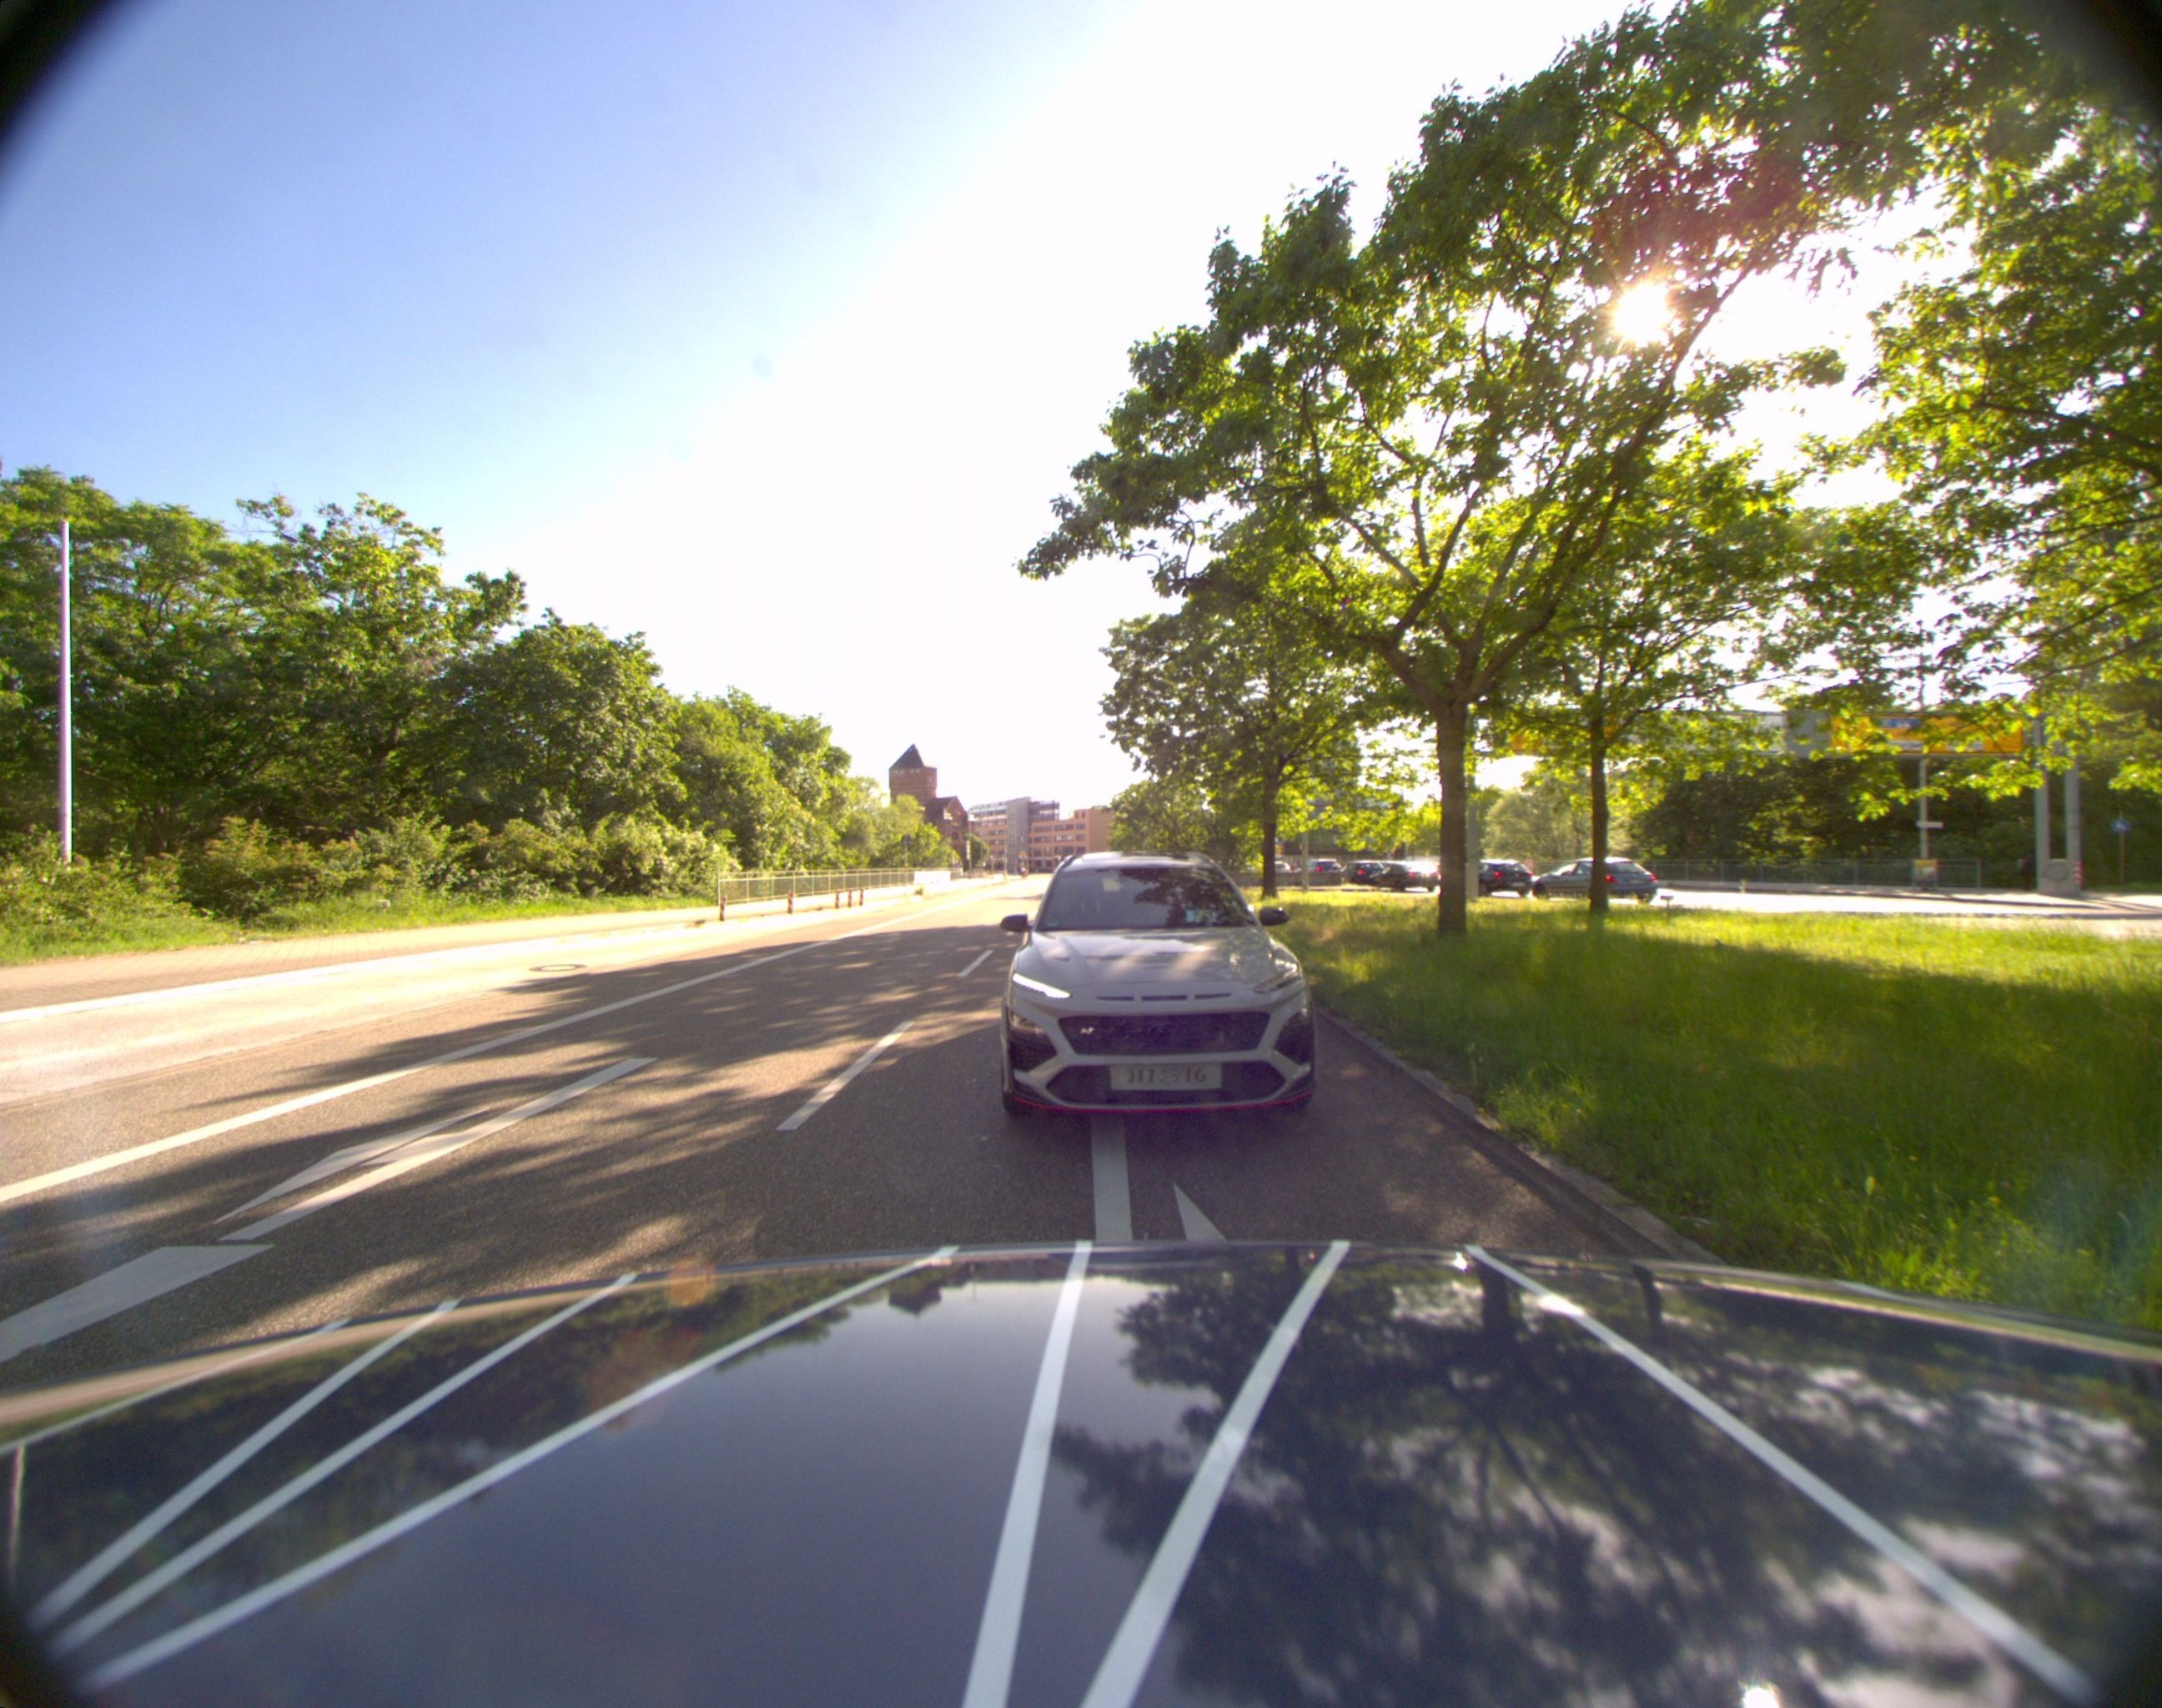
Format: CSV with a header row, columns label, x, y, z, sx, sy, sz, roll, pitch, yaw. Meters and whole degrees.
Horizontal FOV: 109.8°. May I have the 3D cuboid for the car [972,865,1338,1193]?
label,x,y,z,sx,sy,sz,roll,pitch,yaw
car,0.386,0.881,5.680,1.752,1.523,3.988,-1,0,1

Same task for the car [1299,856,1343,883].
label,x,y,z,sx,sy,sz,roll,pitch,yaw
car,14.968,0.993,47.545,1.450,1.549,3.202,-1,-2,-6

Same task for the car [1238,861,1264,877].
label,x,y,z,sx,sy,sz,roll,pitch,yaw
car,13.936,1.281,62.382,1.199,1.252,2.768,-1,-2,-6

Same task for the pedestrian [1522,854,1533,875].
label,x,y,z,sx,sy,sz,roll,pitch,yaw
pedestrian,32.587,0.784,55.426,0.421,1.490,0.545,-1,0,-7

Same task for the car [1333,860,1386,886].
label,x,y,z,sx,sy,sz,roll,pitch,yaw
car,15.150,1.033,41.470,1.481,1.331,3.202,-1,-1,-6

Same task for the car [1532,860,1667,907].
label,x,y,z,sx,sy,sz,roll,pitch,yaw
car,16.388,0.881,24.235,1.561,1.355,3.608,-1,-1,-6

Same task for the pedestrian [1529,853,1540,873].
label,x,y,z,sx,sy,sz,roll,pitch,yaw
pedestrian,32.947,0.655,55.172,0.421,1.490,0.545,-1,0,-7

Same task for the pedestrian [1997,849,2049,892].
label,x,y,z,sx,sy,sz,roll,pitch,yaw
pedestrian,36.260,0.642,29.259,0.912,1.620,0.990,-1,0,25

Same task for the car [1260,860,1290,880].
label,x,y,z,sx,sy,sz,roll,pitch,yaw
car,14.315,1.211,56.162,1.228,1.331,2.882,-1,-3,-6

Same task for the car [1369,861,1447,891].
label,x,y,z,sx,sy,sz,roll,pitch,yaw
car,15.474,0.997,36.214,1.623,1.305,4.066,-1,0,-6

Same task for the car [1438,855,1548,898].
label,x,y,z,sx,sy,sz,roll,pitch,yaw
car,16.186,0.845,30.141,1.875,1.541,4.221,-1,0,-4
